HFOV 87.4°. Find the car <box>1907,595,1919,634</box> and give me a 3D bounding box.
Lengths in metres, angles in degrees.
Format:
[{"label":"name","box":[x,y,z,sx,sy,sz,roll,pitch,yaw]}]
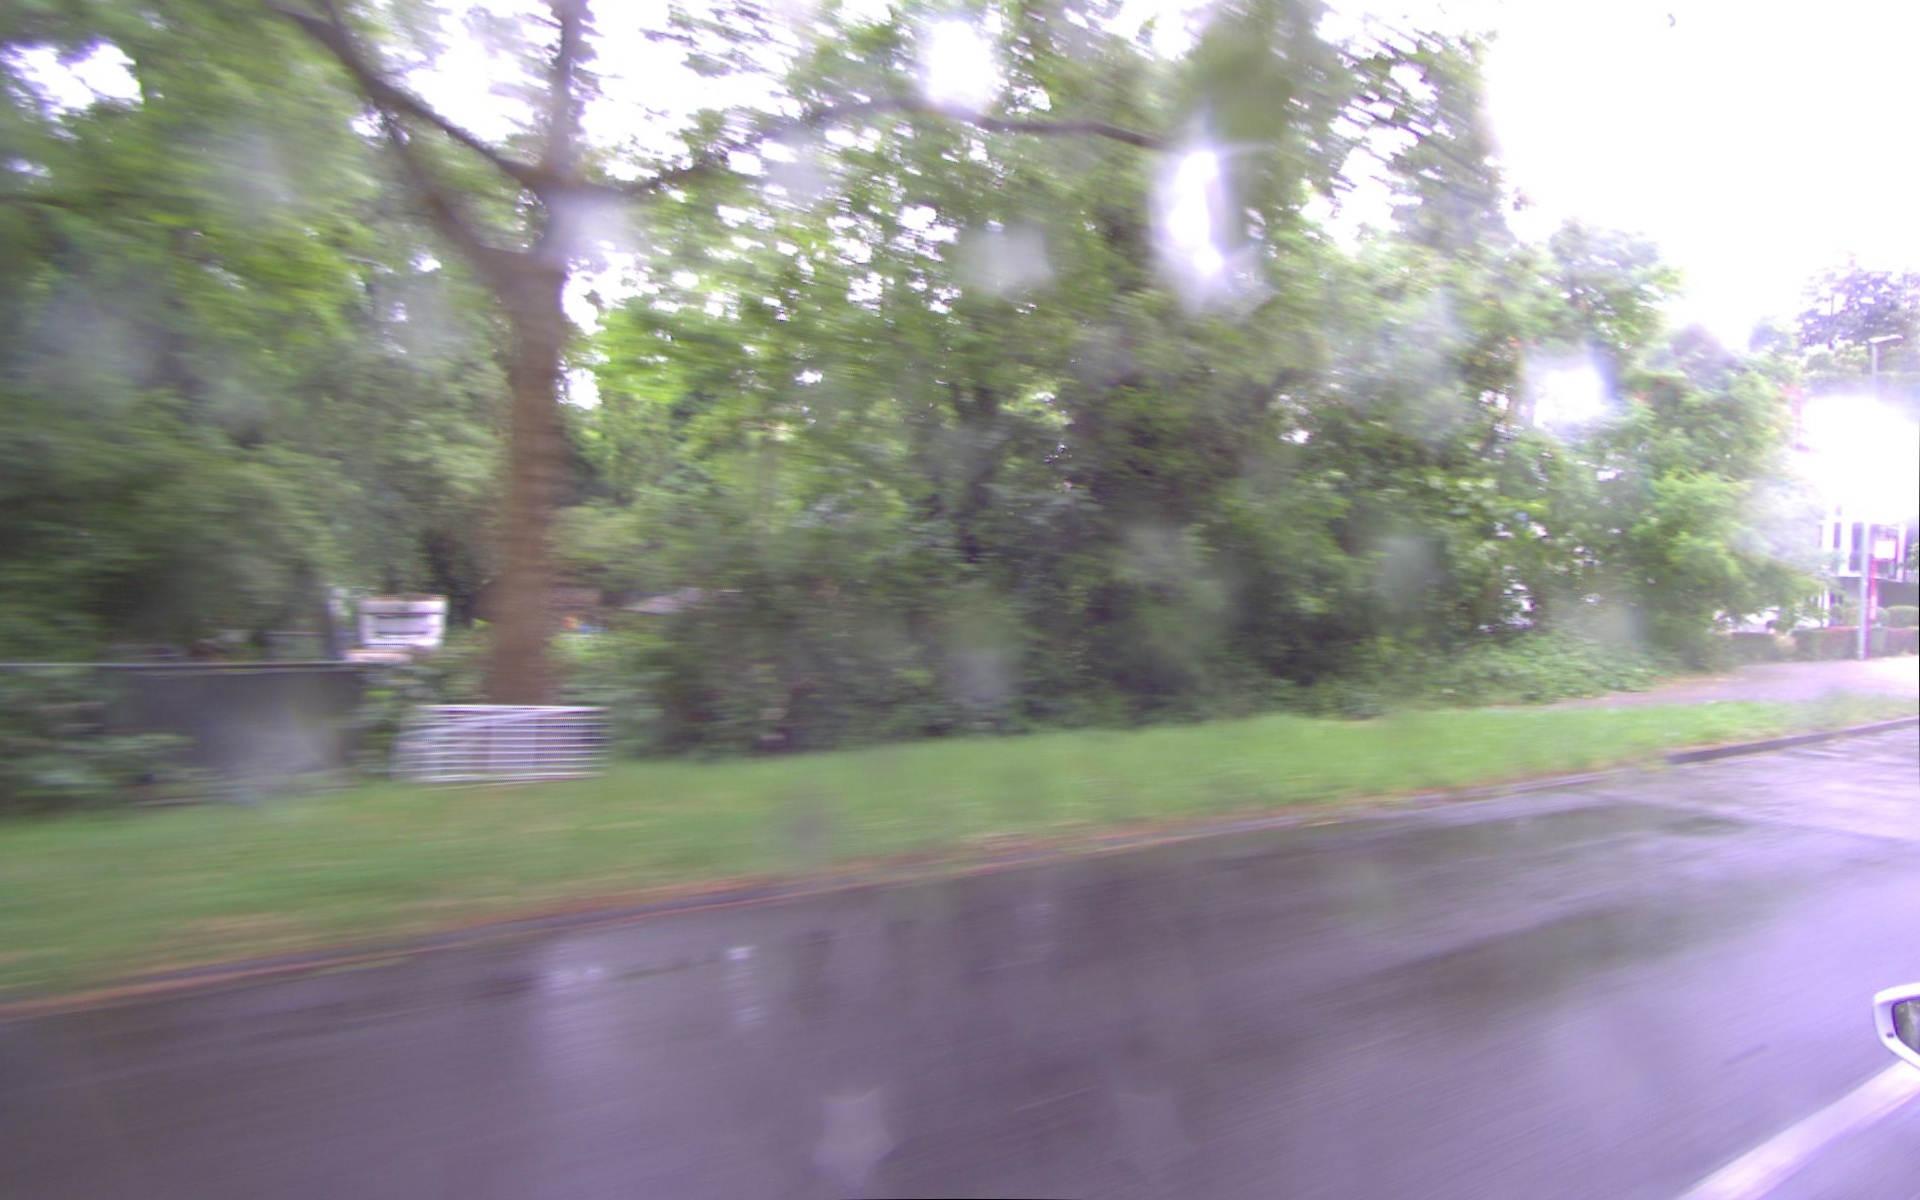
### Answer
[{"label":"car","box":[65.034,1.088,64.570,2.287,2.527,5.538,2,1,-29]}]
